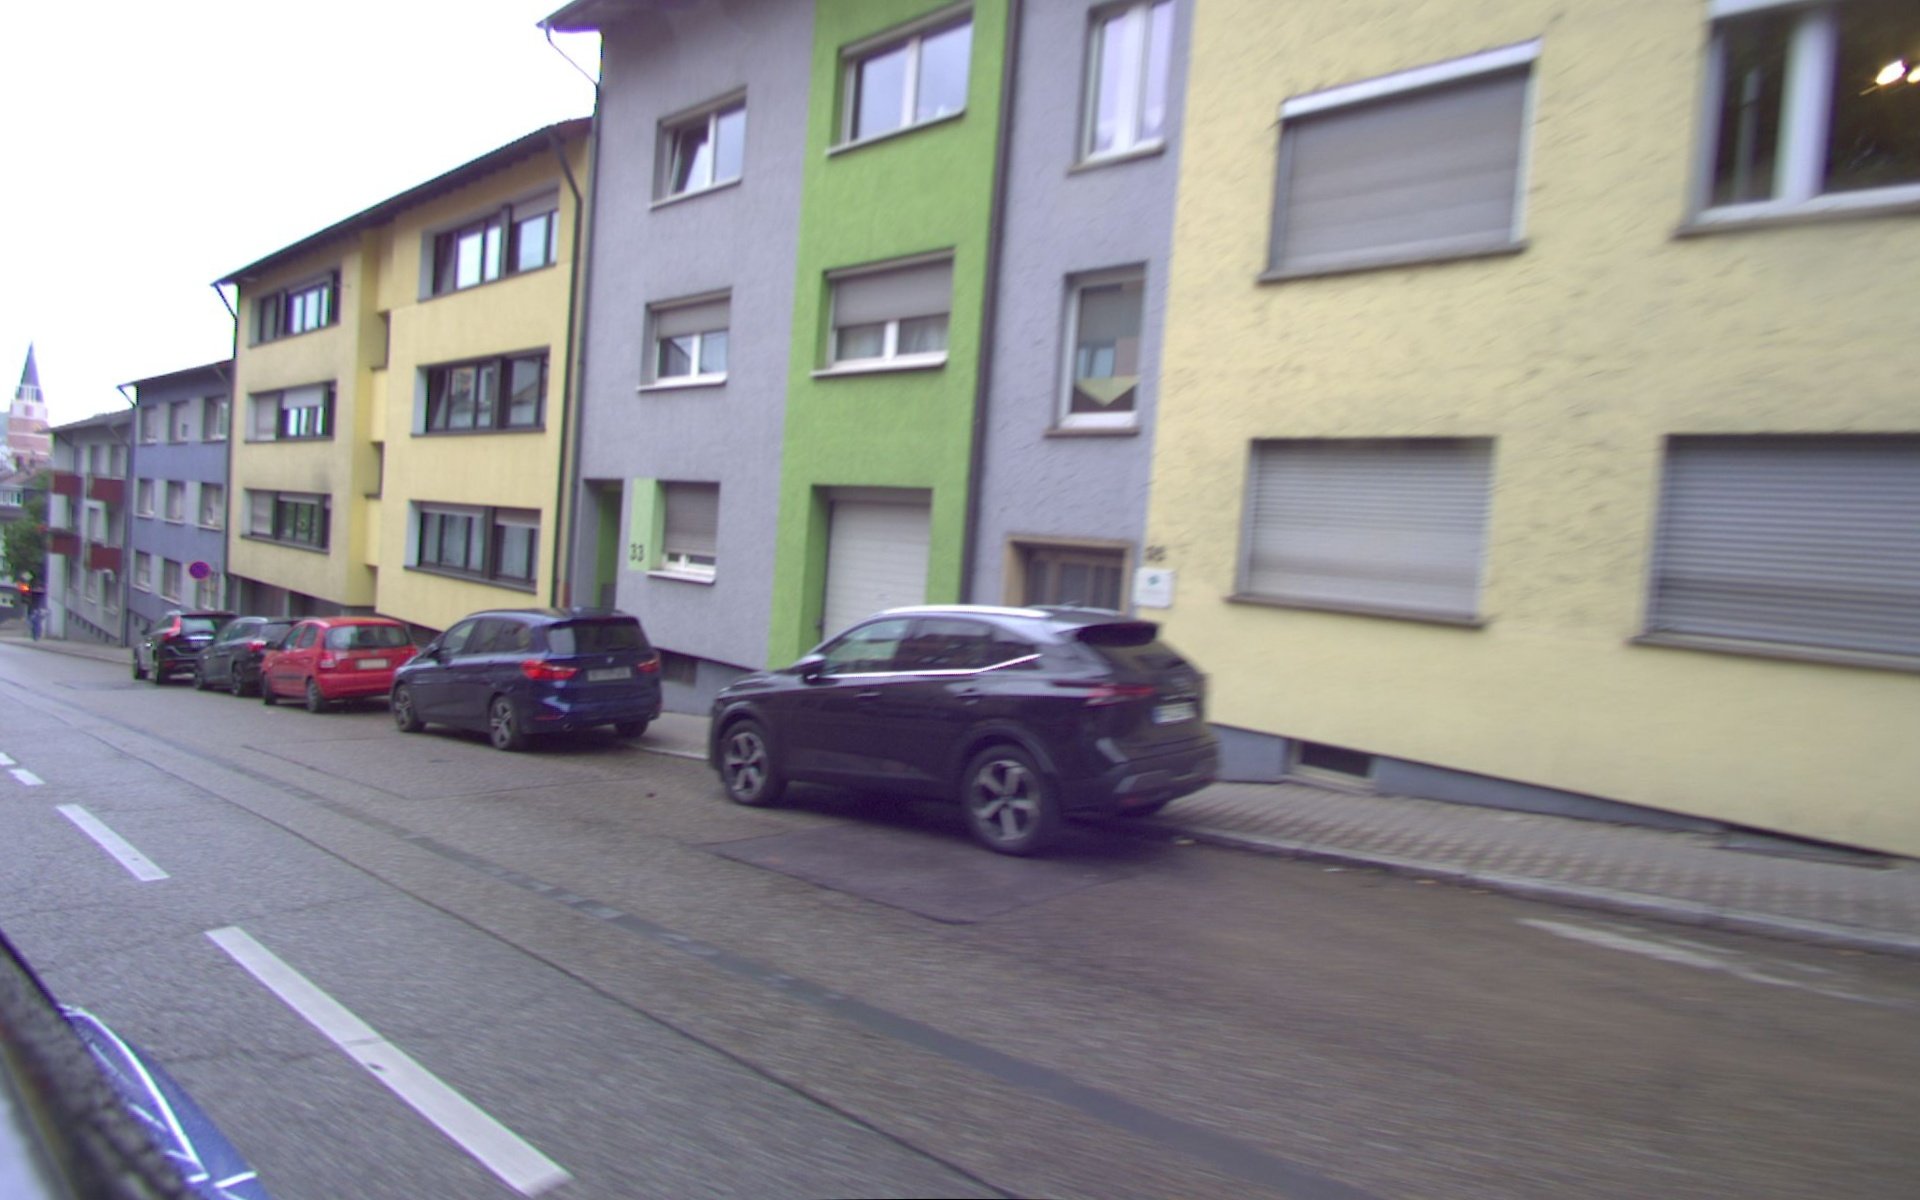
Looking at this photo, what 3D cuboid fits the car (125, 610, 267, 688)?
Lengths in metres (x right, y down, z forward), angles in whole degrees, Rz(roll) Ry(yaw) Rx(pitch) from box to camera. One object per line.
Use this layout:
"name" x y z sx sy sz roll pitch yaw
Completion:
"car" -18.159 1.109 23.989 4.442 1.662 1.971 -1 -2 44

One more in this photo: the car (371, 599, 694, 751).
"car" -5.541 0.845 12.860 4.468 1.597 1.973 -1 -2 40

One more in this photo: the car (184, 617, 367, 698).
"car" -14.025 1.103 20.643 4.345 1.483 1.973 -1 -2 40

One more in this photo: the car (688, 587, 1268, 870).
"car" -0.052 0.778 7.826 4.302 1.597 1.834 -1 -2 40

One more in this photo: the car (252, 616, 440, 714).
"car" -10.503 1.040 17.242 3.488 1.483 1.711 -1 -2 40

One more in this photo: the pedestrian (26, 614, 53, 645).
"pedestrian" -46.953 1.491 51.612 1.086 1.553 0.860 1 1 39
